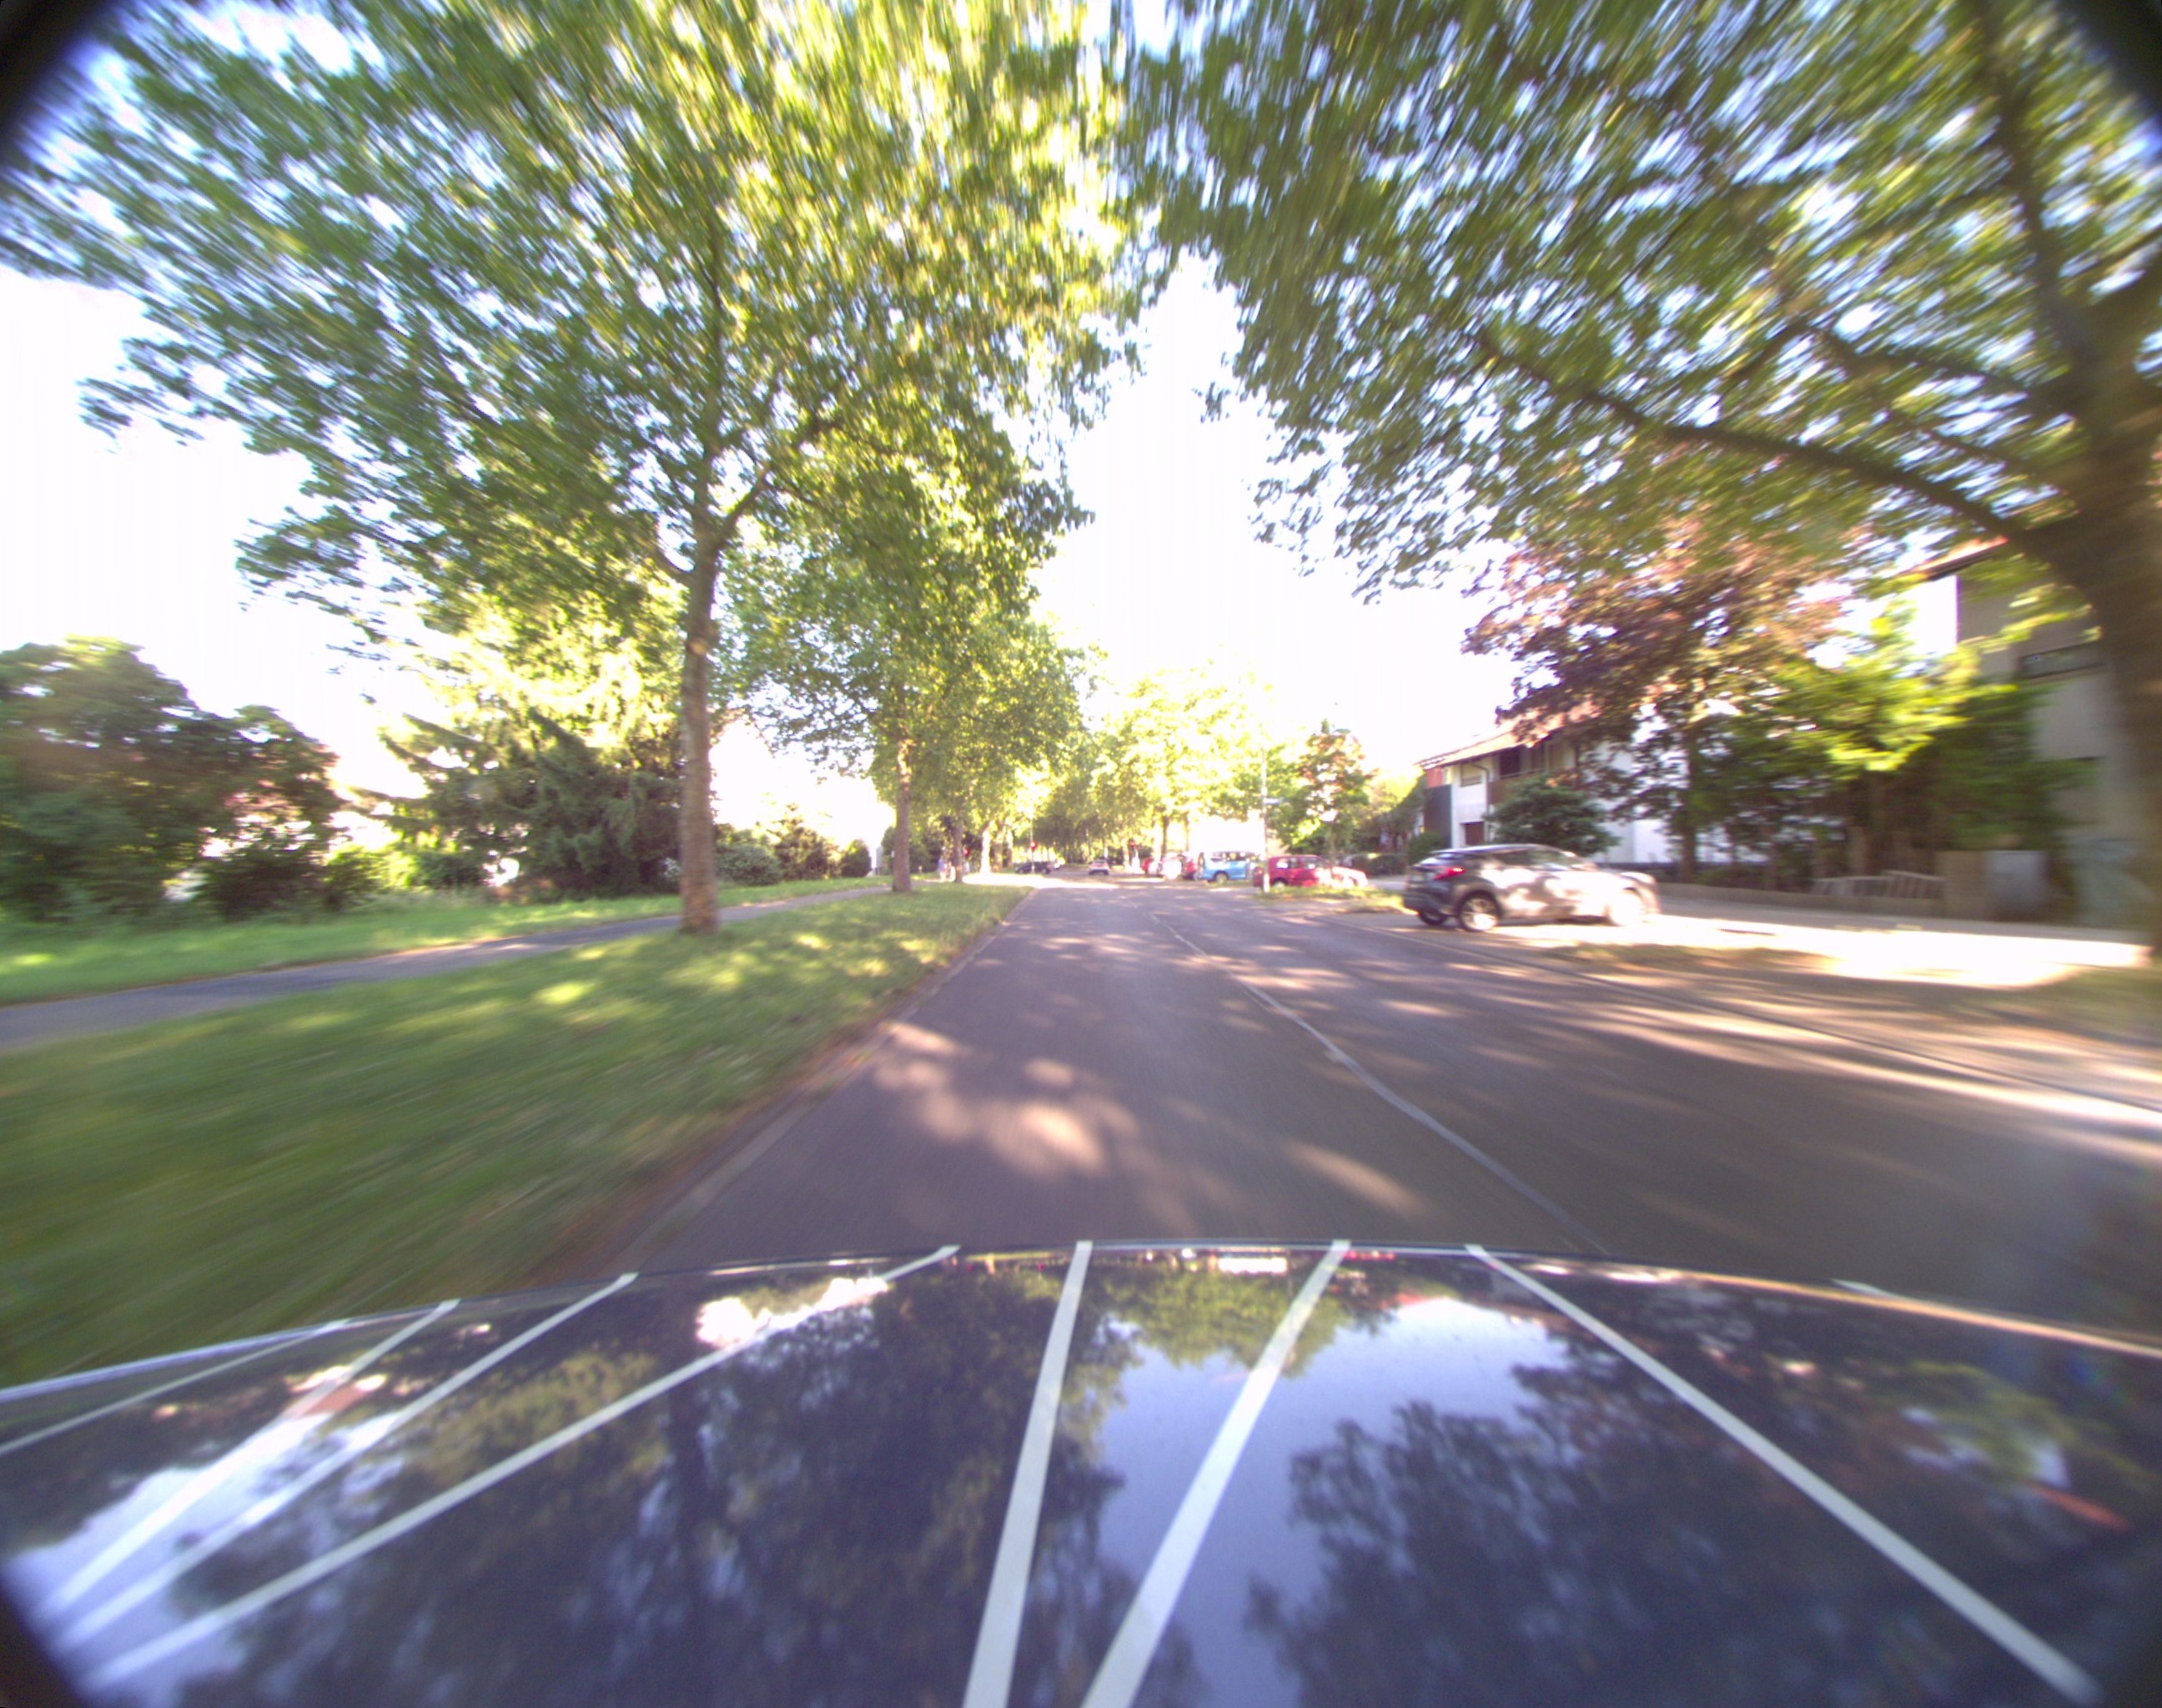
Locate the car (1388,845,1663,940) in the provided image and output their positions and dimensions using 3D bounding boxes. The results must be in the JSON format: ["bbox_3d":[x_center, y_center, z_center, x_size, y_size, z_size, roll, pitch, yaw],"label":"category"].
[{"bbox_3d":[8.057,0.665,14.034,3.998,1.509,1.817,-2,0,-1],"label":"car"}]

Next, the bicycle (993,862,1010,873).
[{"bbox_3d":[-7.613,1.315,72.911,1.715,1.028,0.447,-1,-2,32],"label":"bicycle"}]

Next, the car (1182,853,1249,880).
[{"bbox_3d":[8.051,0.740,45.775,3.652,1.508,1.781,-2,0,-2],"label":"car"}]

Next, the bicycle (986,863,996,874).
[{"bbox_3d":[-8.500,1.378,71.792,0.447,1.076,2.004,1,-2,-23],"label":"bicycle"}]

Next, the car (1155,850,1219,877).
[{"bbox_3d":[7.363,0.666,52.862,4.103,1.706,1.831,-2,0,-3],"label":"car"}]

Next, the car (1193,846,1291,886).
[{"bbox_3d":[8.010,0.589,38.149,4.398,1.813,1.995,-2,0,-4],"label":"car"}]

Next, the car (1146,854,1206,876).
[{"bbox_3d":[7.217,0.821,57.967,4.173,1.492,1.875,-2,0,-5],"label":"car"}]

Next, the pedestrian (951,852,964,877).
[{"bbox_3d":[-9.061,0.786,55.739,0.763,1.835,0.787,-1,0,1],"label":"pedestrian"}]

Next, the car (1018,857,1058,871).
[{"bbox_3d":[-4.687,1.140,83.448,4.062,1.455,1.733,-1,0,9],"label":"car"}]

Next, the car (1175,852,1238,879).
[{"bbox_3d":[7.899,0.695,48.035,3.522,1.508,1.726,-3,0,-7],"label":"car"}]

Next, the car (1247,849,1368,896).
[{"bbox_3d":[8.277,0.650,27.973,3.882,1.509,1.664,-3,0,-4],"label":"car"}]

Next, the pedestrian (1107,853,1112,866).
[{"bbox_3d":[3.550,0.714,94.778,0.510,1.523,1.033,-1,3,-3],"label":"pedestrian"}]

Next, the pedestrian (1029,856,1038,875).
[{"bbox_3d":[-4.465,1.086,71.462,0.637,1.709,0.825,1,0,-11],"label":"pedestrian"}]

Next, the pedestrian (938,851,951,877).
[{"bbox_3d":[-10.046,0.741,56.088,0.756,1.836,0.802,-1,0,1],"label":"pedestrian"}]

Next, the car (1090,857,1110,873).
[{"bbox_3d":[1.832,1.083,75.766,1.721,1.492,4.093,-2,0,-2],"label":"car"}]

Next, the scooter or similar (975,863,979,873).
[{"bbox_3d":[-12.430,1.656,90.992,0.383,1.189,1.254,-2,0,-5],"label":"scooter or similar"}]

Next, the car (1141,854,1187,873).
[{"bbox_3d":[7.363,0.863,67.868,3.775,1.526,1.831,-2,0,-5],"label":"car"}]

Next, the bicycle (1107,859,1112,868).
[{"bbox_3d":[3.550,1.205,94.837,0.510,1.036,2.151,2,3,-2],"label":"bicycle"}]

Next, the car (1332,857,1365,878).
[{"bbox_3d":[14.703,0.726,41.753,1.518,1.110,0.700,-1,0,-2],"label":"car"}]
